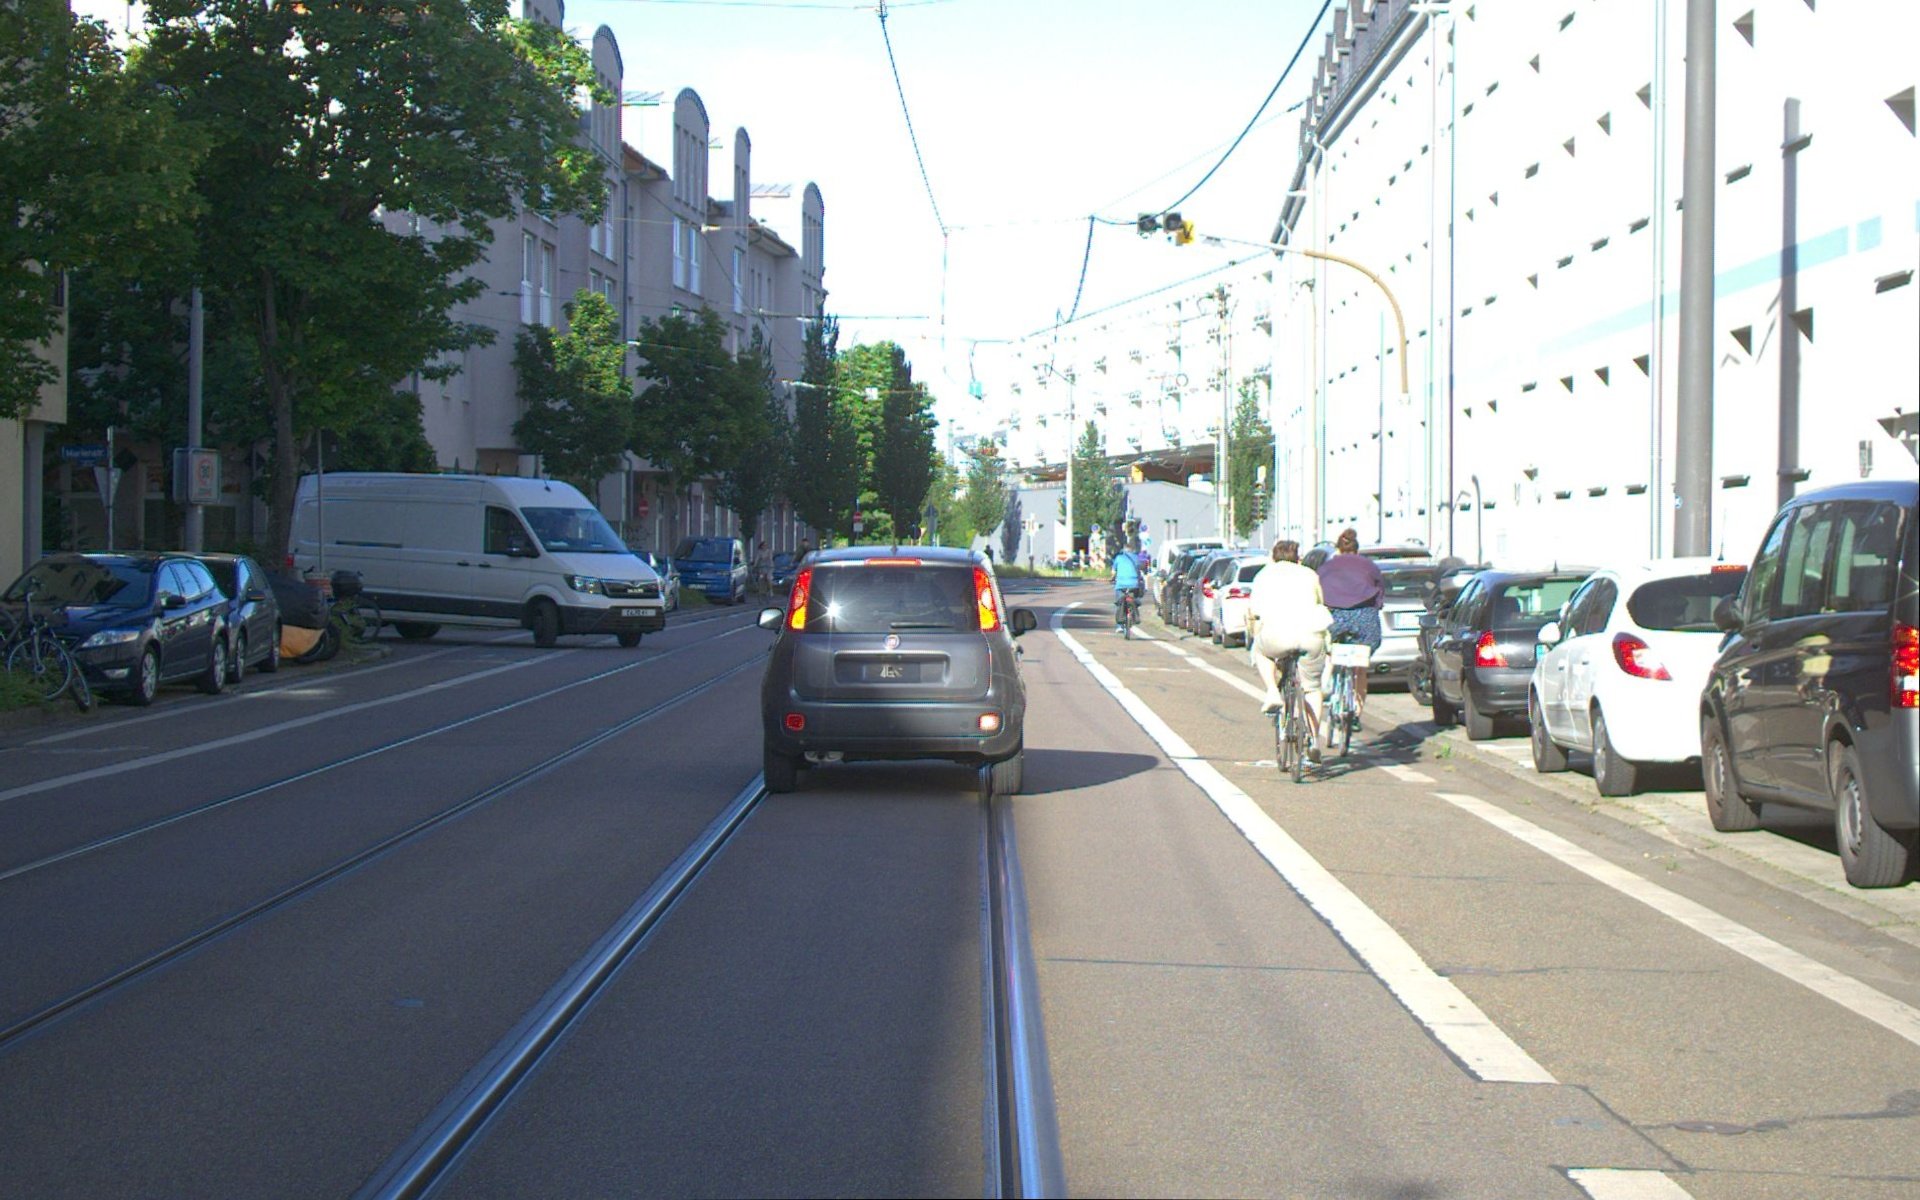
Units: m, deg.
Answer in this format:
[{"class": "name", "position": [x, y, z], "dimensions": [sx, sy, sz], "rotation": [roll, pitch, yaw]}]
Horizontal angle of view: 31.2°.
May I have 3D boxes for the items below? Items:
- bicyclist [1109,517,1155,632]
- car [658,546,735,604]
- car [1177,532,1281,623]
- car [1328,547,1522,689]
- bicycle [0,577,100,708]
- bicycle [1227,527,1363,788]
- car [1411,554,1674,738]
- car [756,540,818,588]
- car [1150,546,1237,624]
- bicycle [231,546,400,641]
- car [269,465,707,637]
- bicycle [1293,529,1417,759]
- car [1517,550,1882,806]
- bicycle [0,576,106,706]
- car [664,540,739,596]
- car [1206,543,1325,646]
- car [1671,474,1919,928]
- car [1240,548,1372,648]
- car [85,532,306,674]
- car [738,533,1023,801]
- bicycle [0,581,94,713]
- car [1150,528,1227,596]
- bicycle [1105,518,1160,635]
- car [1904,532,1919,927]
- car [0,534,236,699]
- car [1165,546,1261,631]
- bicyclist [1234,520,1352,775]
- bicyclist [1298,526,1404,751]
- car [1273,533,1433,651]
[{"class": "bicyclist", "position": [3.050, -0.456, 61.087], "dimensions": [0.715, 2.007, 0.832], "rotation": [2, 1, 0]}, {"class": "car", "position": [-7.173, -0.697, 93.960], "dimensions": [1.707, 1.491, 3.722], "rotation": [2, 1, 1]}, {"class": "car", "position": [4.981, -0.438, 63.972], "dimensions": [1.583, 1.593, 3.377], "rotation": [2, 1, 0]}, {"class": "car", "position": [5.055, 0.163, 37.713], "dimensions": [1.583, 1.400, 3.377], "rotation": [-3, 1, 0]}, {"class": "bicycle", "position": [-9.011, 0.384, 32.308], "dimensions": [1.728, 1.192, 0.372], "rotation": [2, 1, -3]}, {"class": "bicycle", "position": [2.346, 0.369, 24.285], "dimensions": [0.675, 1.741, 2.158], "rotation": [2, 1, 0]}, {"class": "car", "position": [4.867, 0.344, 29.104], "dimensions": [1.583, 1.400, 3.377], "rotation": [2, 1, 0]}, {"class": "car", "position": [-5.698, -1.203, 113.531], "dimensions": [1.707, 1.491, 3.722], "rotation": [2, 1, 1]}, {"class": "car", "position": [5.048, -0.349, 74.618], "dimensions": [1.583, 1.593, 3.377], "rotation": [2, 1, 0]}, {"class": "bicycle", "position": [-9.232, -0.103, 49.298], "dimensions": [2.275, 1.284, 0.758], "rotation": [2, 1, -4]}, {"class": "car", "position": [-7.265, -0.783, 52.419], "dimensions": [6.915, 2.395, 2.171], "rotation": [2, 1, 35]}, {"class": "bicycle", "position": [3.129, 0.320, 27.413], "dimensions": [0.675, 1.741, 2.158], "rotation": [2, 1, 0]}, {"class": "car", "position": [4.756, 0.452, 22.495], "dimensions": [1.655, 1.495, 3.130], "rotation": [2, 1, 0]}, {"class": "bicycle", "position": [-9.053, 0.377, 32.723], "dimensions": [1.728, 1.192, 0.372], "rotation": [2, 1, -3]}, {"class": "car", "position": [-7.343, -0.926, 97.902], "dimensions": [1.707, 1.491, 3.722], "rotation": [2, 1, 1]}, {"class": "car", "position": [4.994, -0.114, 56.587], "dimensions": [1.583, 1.593, 3.377], "rotation": [2, 1, 0]}, {"class": "car", "position": [4.864, 0.415, 17.008], "dimensions": [1.655, 1.937, 4.665], "rotation": [2, 1, 0]}, {"class": "car", "position": [5.199, -0.056, 51.908], "dimensions": [1.583, 1.400, 3.377], "rotation": [2, 1, 0]}, {"class": "car", "position": [-8.943, 0.002, 40.481], "dimensions": [1.835, 1.551, 3.377], "rotation": [2, 1, 0]}, {"class": "car", "position": [-0.434, 0.358, 22.493], "dimensions": [1.650, 1.536, 4.235], "rotation": [2, 1, 1]}, {"class": "bicycle", "position": [-8.963, 0.421, 31.912], "dimensions": [1.728, 1.192, 0.372], "rotation": [2, 1, -3]}, {"class": "car", "position": [5.584, -0.942, 84.300], "dimensions": [1.583, 1.593, 3.377], "rotation": [2, 1, 0]}, {"class": "bicycle", "position": [3.053, -0.428, 61.079], "dimensions": [0.741, 2.007, 2.812], "rotation": [2, 1, 0]}, {"class": "car", "position": [4.656, 0.569, 11.898], "dimensions": [1.655, 1.566, 3.876], "rotation": [2, 1, 0]}, {"class": "car", "position": [-8.776, 0.125, 35.272], "dimensions": [1.835, 1.551, 4.000], "rotation": [2, 1, 0]}, {"class": "car", "position": [5.038, -0.248, 68.791], "dimensions": [1.583, 1.593, 3.377], "rotation": [2, 1, 0]}, {"class": "bicyclist", "position": [2.342, 0.327, 24.268], "dimensions": [0.699, 1.753, 0.757], "rotation": [2, 1, 0]}, {"class": "bicyclist", "position": [3.108, 0.296, 27.388], "dimensions": [0.699, 1.753, 0.757], "rotation": [2, 1, 0]}, {"class": "car", "position": [4.948, -0.126, 43.630], "dimensions": [1.583, 1.400, 3.377], "rotation": [2, 1, 0]}]
